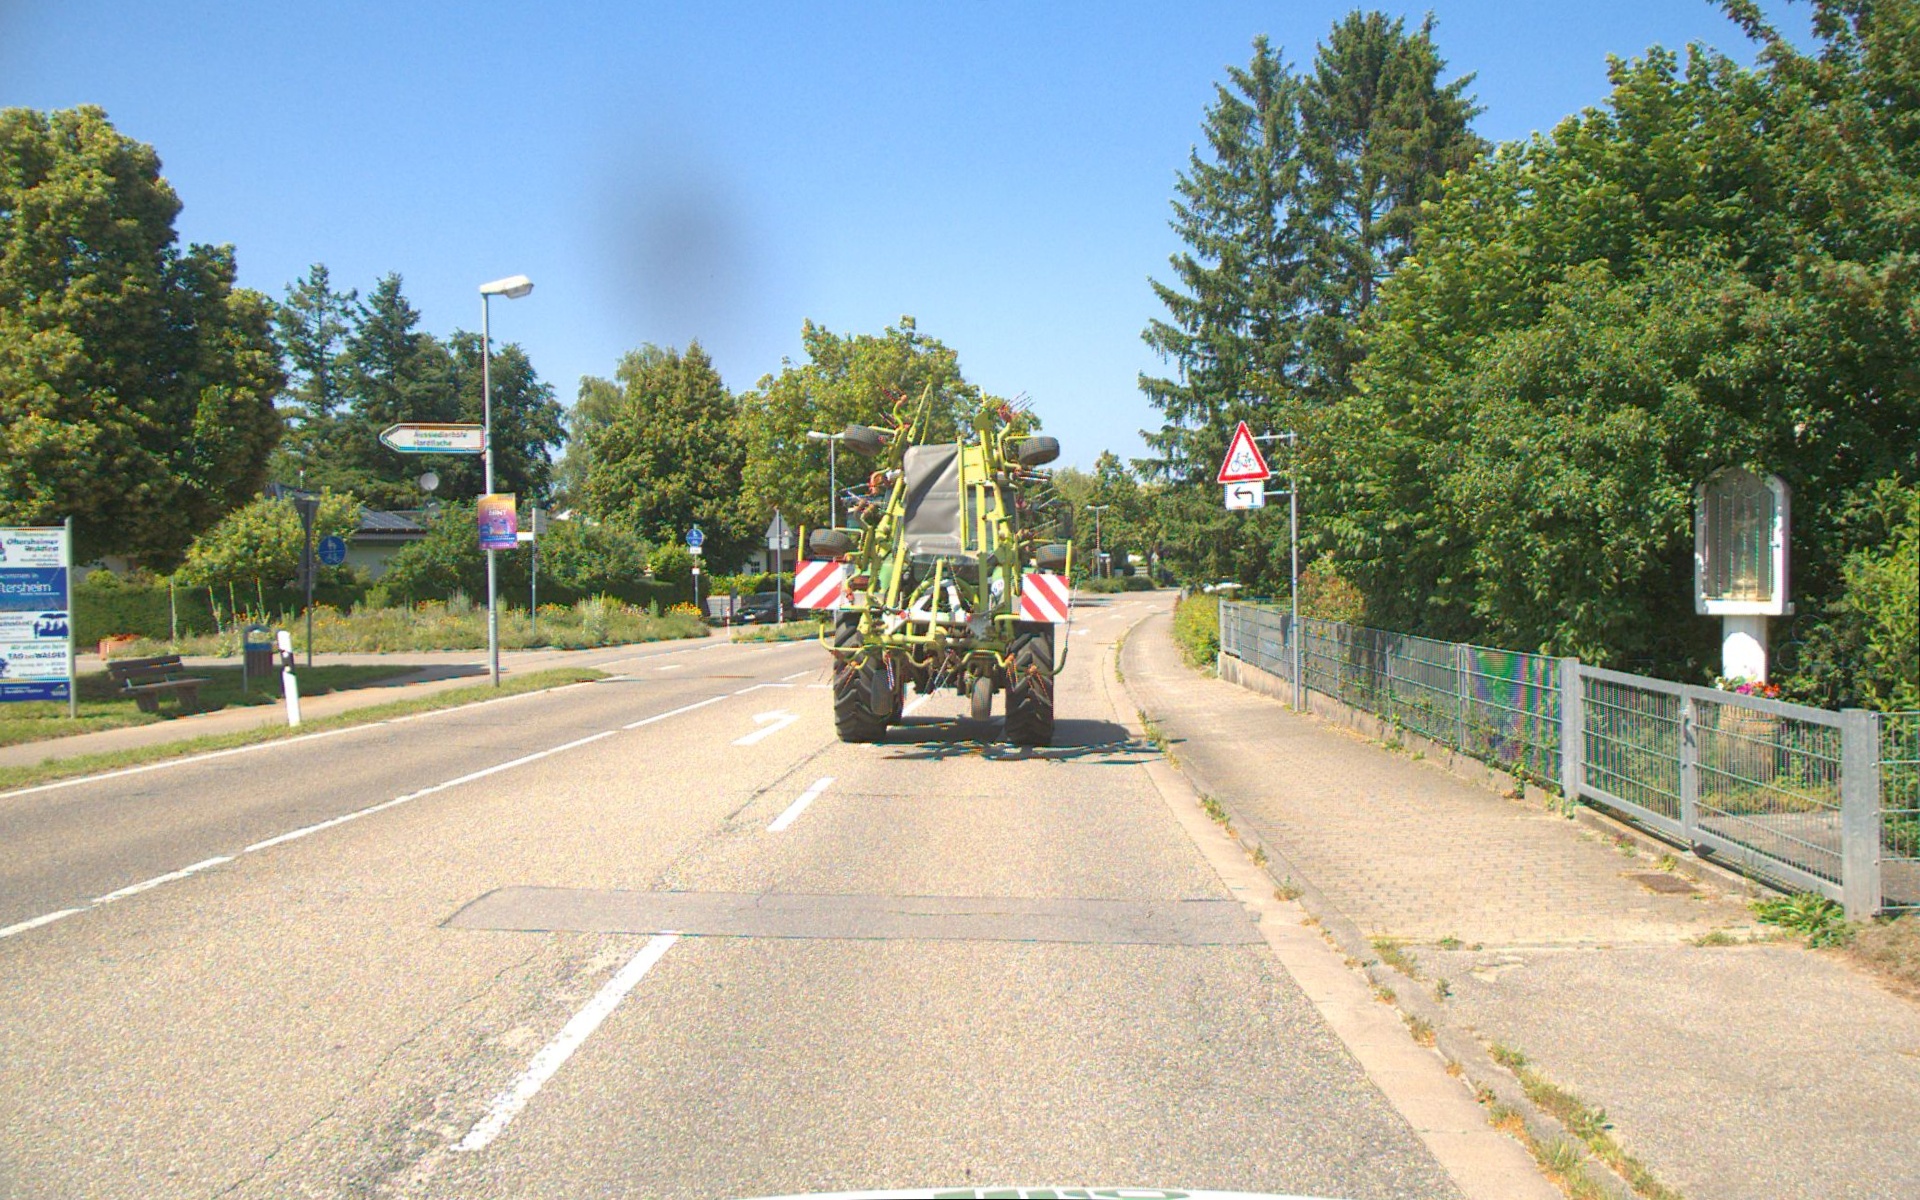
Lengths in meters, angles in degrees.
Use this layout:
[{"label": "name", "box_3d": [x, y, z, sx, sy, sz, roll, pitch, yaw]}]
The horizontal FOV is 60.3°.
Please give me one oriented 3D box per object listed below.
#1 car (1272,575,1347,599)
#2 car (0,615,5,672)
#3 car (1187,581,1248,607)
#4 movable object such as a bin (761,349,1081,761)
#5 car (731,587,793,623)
[{"label": "car", "box_3d": [19.434, -0.752, 92.092, 3.738, 1.317, 1.681, 0, 1, -7]}, {"label": "car", "box_3d": [-28.605, 1.276, 45.351, 4.001, 1.545, 2.001, -2, 0, 18]}, {"label": "car", "box_3d": [17.679, -0.444, 113.632, 3.905, 1.745, 1.863, -1, 0, -1]}, {"label": "movable object such as a bin", "box_3d": [-0.148, -0.434, 19.413, 2.793, 3.603, 9.704, 0, 0, 2]}, {"label": "car", "box_3d": [-8.915, 0.203, 74.774, 1.652, 1.556, 4.004, 0, 1, 11]}]
